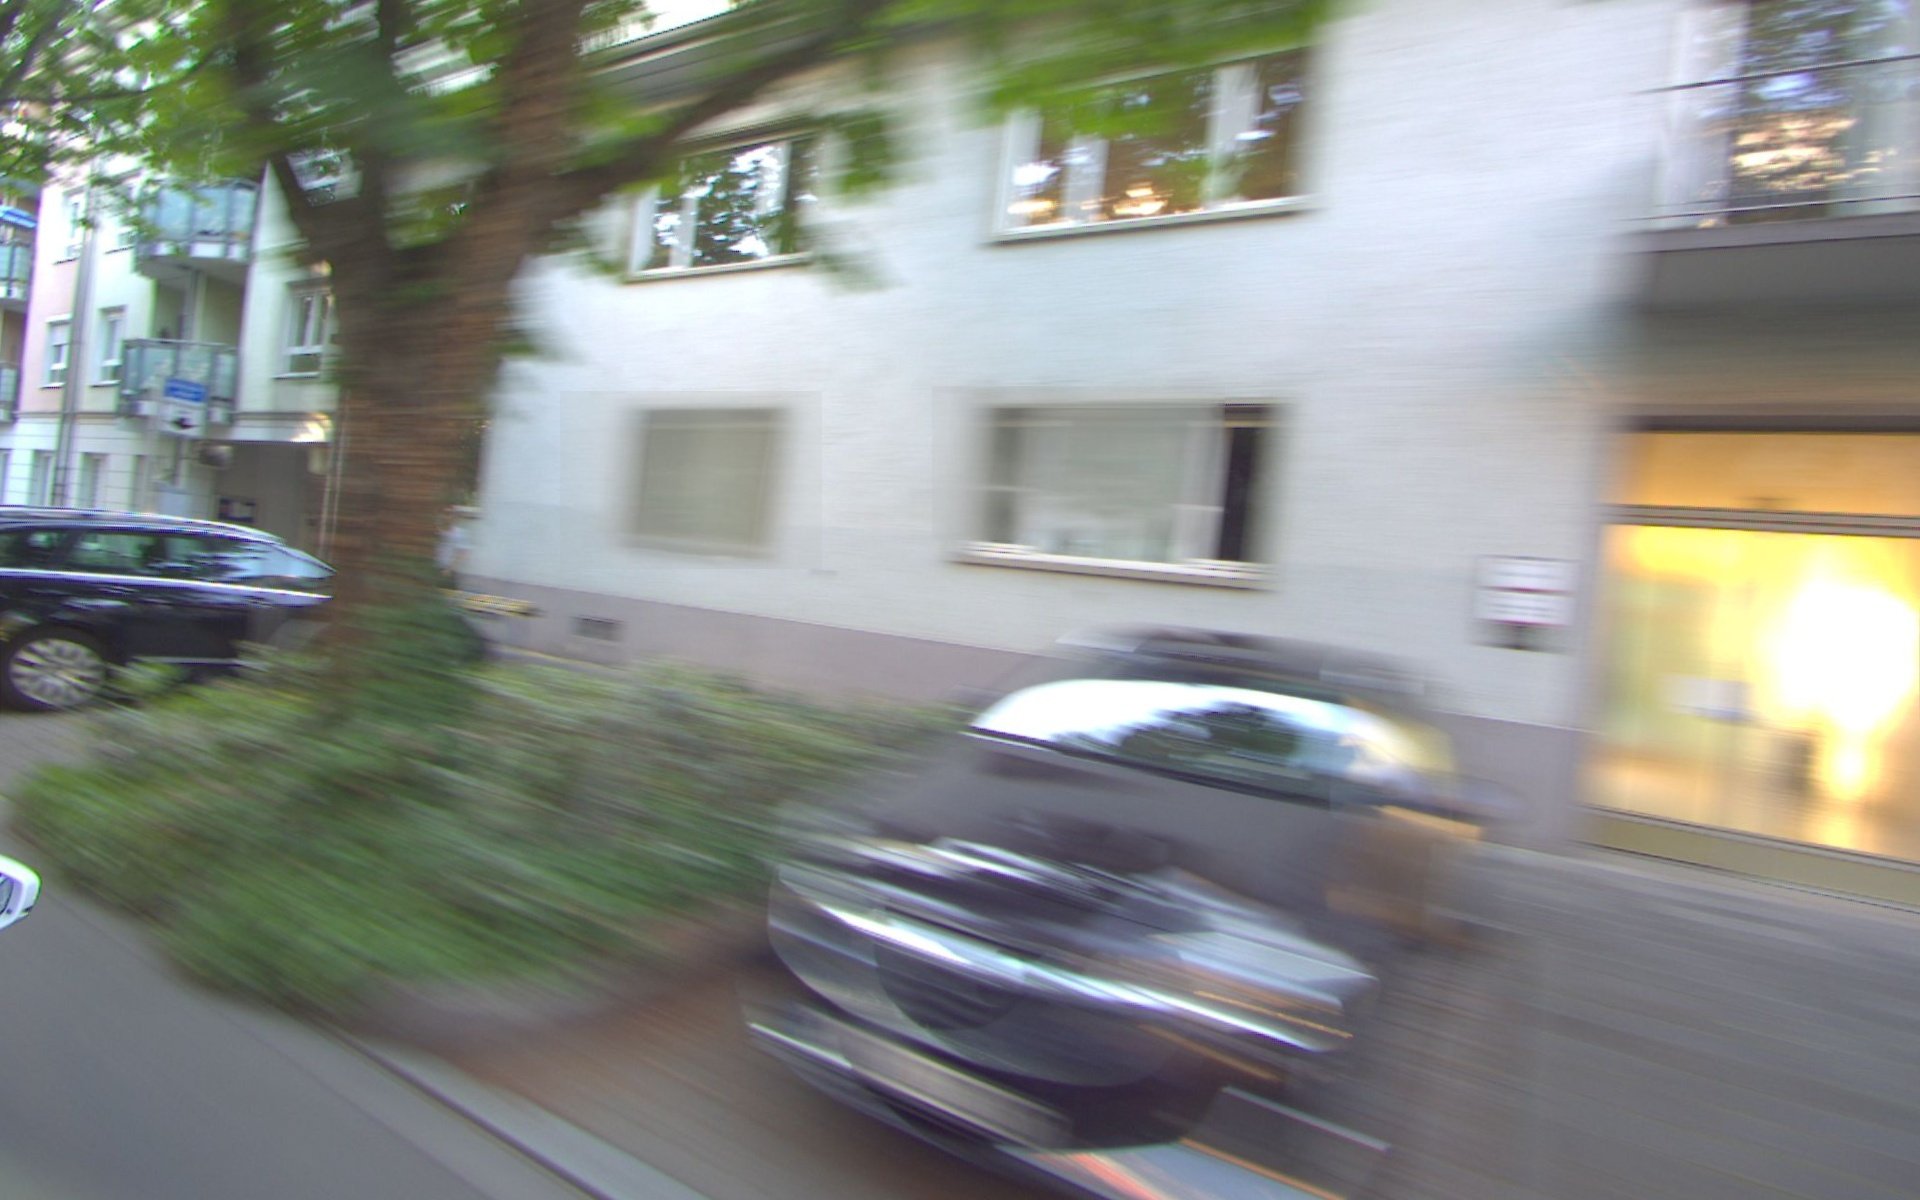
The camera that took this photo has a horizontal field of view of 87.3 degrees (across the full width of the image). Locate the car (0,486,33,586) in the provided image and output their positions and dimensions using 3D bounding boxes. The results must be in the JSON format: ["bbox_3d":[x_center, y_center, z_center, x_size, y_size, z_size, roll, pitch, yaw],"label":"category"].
[{"bbox_3d":[-17.258,-1.179,15.506,1.884,1.606,3.971,6,2,31],"label":"car"}]

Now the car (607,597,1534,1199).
[{"bbox_3d":[1.117,0.853,4.296,1.968,1.406,4.677,6,2,33],"label":"car"}]

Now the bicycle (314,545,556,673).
[{"bbox_3d":[-6.357,0.074,12.079,3.341,1.178,0.622,6,0,26],"label":"bicycle"}]

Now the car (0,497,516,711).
[{"bbox_3d":[-6.442,0.000,8.536,1.980,1.446,4.455,6,2,36],"label":"car"}]

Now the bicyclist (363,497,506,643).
[{"bbox_3d":[-6.461,-0.359,12.388,1.116,1.624,0.972,6,0,27],"label":"bicyclist"}]
